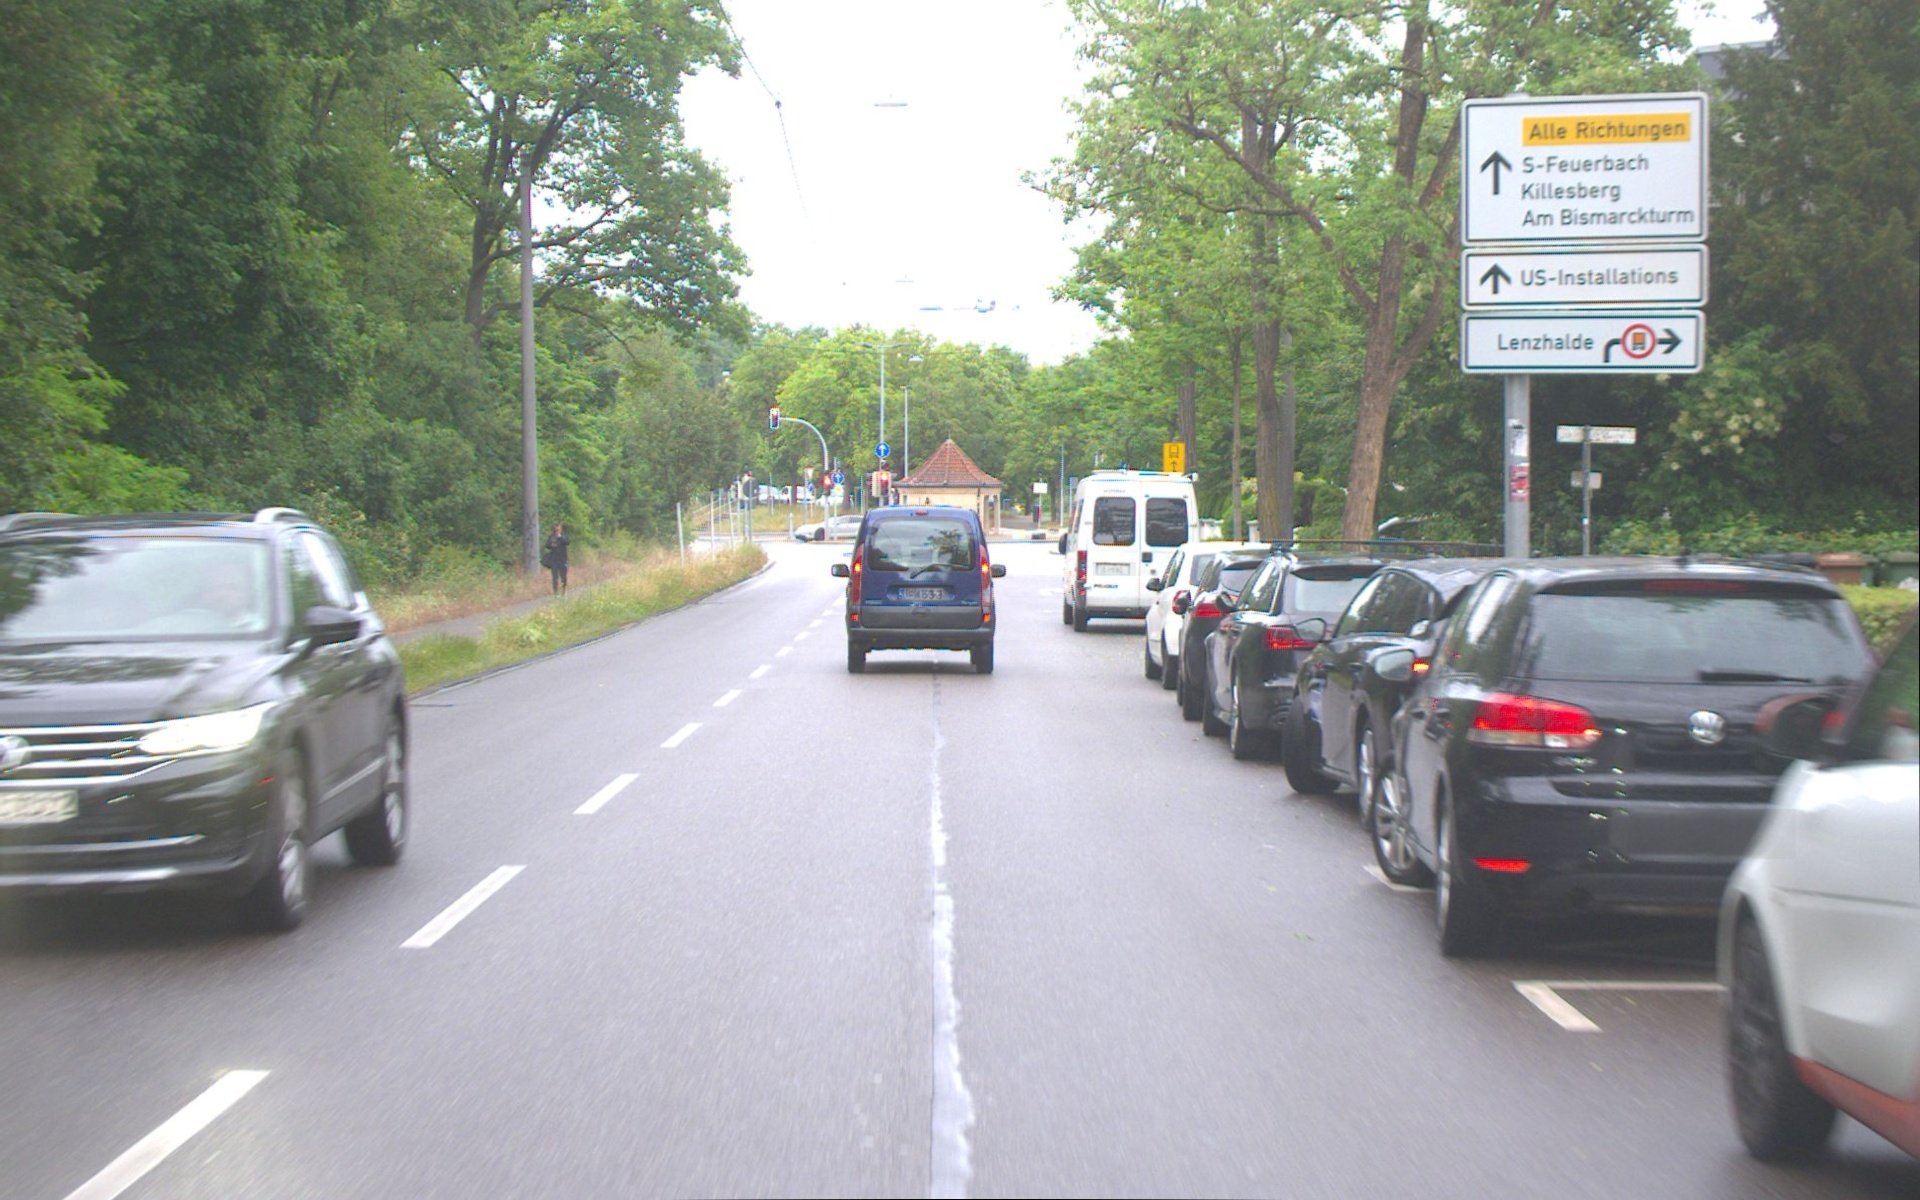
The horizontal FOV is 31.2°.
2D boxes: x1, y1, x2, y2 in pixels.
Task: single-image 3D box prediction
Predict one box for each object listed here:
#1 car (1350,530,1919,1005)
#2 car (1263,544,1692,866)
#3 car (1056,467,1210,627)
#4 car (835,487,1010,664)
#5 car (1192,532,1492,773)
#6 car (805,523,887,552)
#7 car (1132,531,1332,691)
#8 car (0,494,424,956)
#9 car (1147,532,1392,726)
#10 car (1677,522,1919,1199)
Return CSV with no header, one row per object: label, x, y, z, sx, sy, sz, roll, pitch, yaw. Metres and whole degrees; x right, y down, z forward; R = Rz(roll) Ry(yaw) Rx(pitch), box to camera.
car,2.570,0.533,13.677,1.698,1.519,3.867,2,2,2
car,2.756,0.494,19.126,1.698,1.519,3.868,2,2,-1
car,2.713,-0.860,54.971,2.205,2.441,4.729,0,1,0
car,-0.467,-0.319,38.543,1.766,1.824,3.543,2,2,-3
car,2.674,0.307,24.901,1.698,1.519,4.211,2,2,0
car,-6.010,-3.303,181.817,4.038,1.371,1.718,2,2,10
car,2.802,0.068,36.135,1.698,1.519,3.868,2,2,-1
car,-3.425,0.389,14.302,1.723,1.610,4.155,-1,2,0
car,2.661,0.201,30.319,1.698,1.519,3.868,2,2,-1
car,2.727,0.629,7.399,1.633,1.504,2.958,2,2,-1
